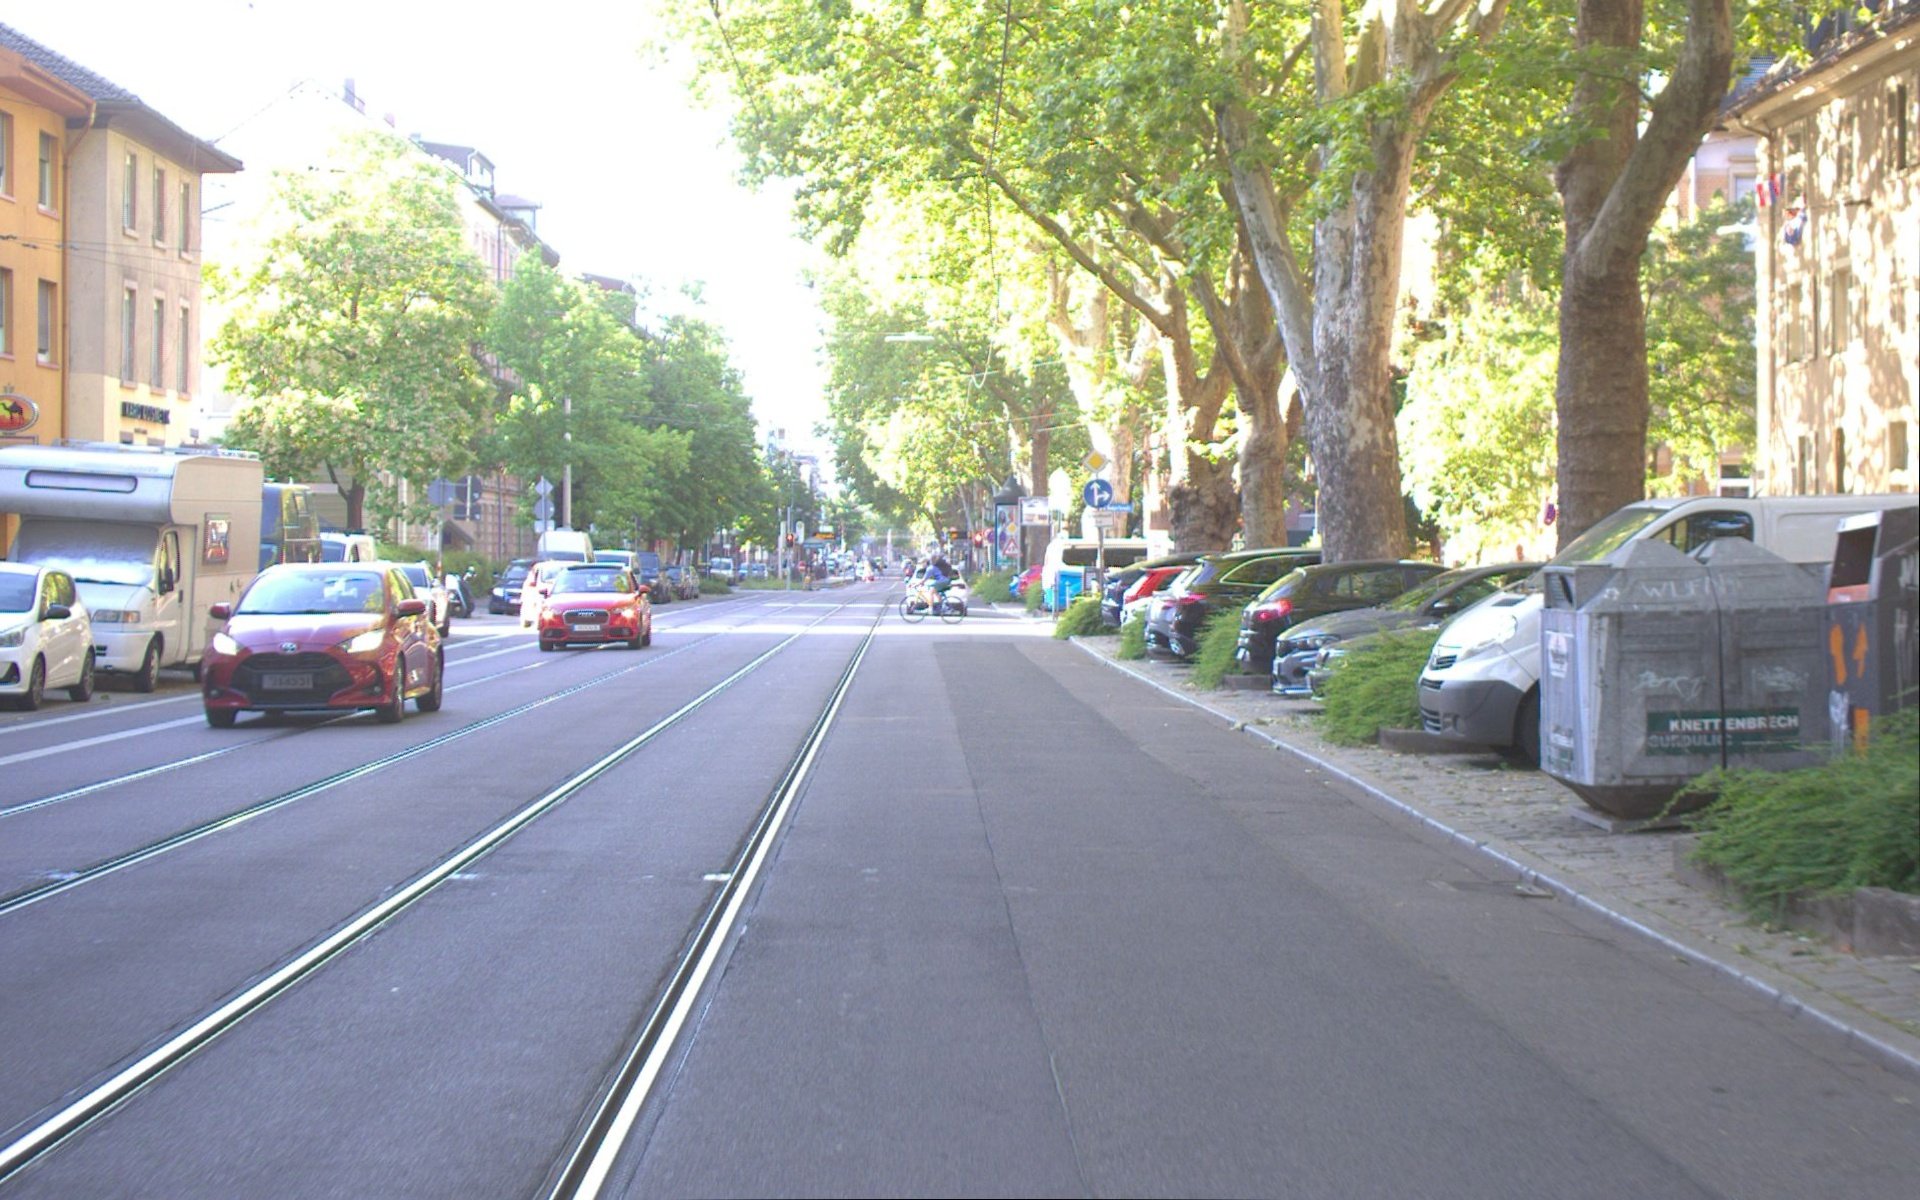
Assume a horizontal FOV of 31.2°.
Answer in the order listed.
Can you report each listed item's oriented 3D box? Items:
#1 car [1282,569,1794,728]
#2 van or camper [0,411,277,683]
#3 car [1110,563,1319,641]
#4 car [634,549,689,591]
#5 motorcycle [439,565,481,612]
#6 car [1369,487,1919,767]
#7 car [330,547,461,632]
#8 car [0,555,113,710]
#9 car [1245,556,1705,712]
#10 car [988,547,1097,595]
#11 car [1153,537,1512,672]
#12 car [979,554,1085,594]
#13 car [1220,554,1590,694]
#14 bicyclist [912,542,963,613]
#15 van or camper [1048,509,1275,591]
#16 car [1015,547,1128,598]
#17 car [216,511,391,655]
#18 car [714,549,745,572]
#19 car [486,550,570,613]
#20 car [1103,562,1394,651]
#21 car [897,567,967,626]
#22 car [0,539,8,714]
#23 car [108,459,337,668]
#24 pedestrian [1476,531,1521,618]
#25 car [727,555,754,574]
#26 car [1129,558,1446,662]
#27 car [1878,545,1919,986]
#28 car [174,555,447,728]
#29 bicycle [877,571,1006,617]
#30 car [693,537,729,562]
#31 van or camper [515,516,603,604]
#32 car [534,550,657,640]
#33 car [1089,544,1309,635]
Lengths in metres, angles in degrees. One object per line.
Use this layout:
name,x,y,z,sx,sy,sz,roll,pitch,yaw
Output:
car,5.168,0.414,31.199,4.397,1.376,1.804,0,0,3
van or camper,-10.402,-0.677,42.854,2.337,3.030,6.397,3,1,0
car,4.583,0.022,62.357,3.650,1.373,1.890,0,1,0
car,-12.784,-1.293,147.473,1.993,1.739,4.659,0,1,-1
motorcycle,-12.951,-0.304,89.112,0.763,1.103,2.330,1,3,-1
car,5.575,0.179,25.176,4.835,1.956,2.065,0,1,-3
car,-10.800,-0.238,66.074,1.836,1.463,5.070,3,1,-3
car,-10.285,0.289,36.422,1.710,1.483,3.862,3,1,-2
car,5.044,0.316,34.079,4.247,1.478,1.898,0,1,-1
car,3.069,-1.096,128.669,3.987,1.778,2.000,0,1,0
car,4.774,0.043,44.617,4.497,1.596,2.027,-2,1,3
car,2.721,-1.008,130.975,3.987,1.515,2.000,0,1,0
car,4.868,0.247,37.985,3.838,1.504,1.711,0,1,-1
bicyclist,-0.548,-0.550,82.544,1.045,1.700,1.058,0,1,-10
van or camper,5.164,-1.301,88.557,5.554,2.006,2.245,0,3,-5
car,3.970,-0.987,123.128,3.987,1.778,2.000,0,1,0
car,-10.538,-0.326,55.532,1.952,2.084,5.249,3,1,-3
car,-15.600,-2.659,232.312,1.918,1.414,3.591,-2,0,-6
car,-11.688,-0.521,93.230,1.787,1.581,4.344,3,1,-2
car,4.787,0.102,57.490,4.686,1.441,1.892,0,1,0
car,-0.809,-0.114,97.093,1.918,1.579,3.791,-1,1,-1
car,-10.105,0.267,30.610,1.952,1.680,5.071,2,1,-2
car,-10.520,-0.542,49.470,2.086,2.722,5.310,3,1,-1
pedestrian,10.891,-0.517,69.520,0.760,1.733,0.821,0,1,-1
car,-15.991,-2.587,250.162,1.918,1.414,3.591,0,1,-3
car,4.631,0.135,49.097,4.295,1.434,1.948,0,1,-2
car,5.540,0.602,11.711,4.371,1.537,1.801,0,2,3
car,-5.921,0.330,31.797,1.775,1.453,4.203,-1,1,-1
bicycle,-0.447,-0.146,82.544,2.947,1.101,1.052,0,1,-10
car,-14.165,-2.901,195.640,1.918,1.414,3.721,0,1,-2
van or camper,-11.926,-1.197,102.456,2.079,2.524,5.318,0,1,-1
car,-6.166,-0.109,58.521,1.723,1.432,4.069,-1,1,-1
car,4.463,-0.205,64.577,3.923,1.664,1.961,0,1,-2
